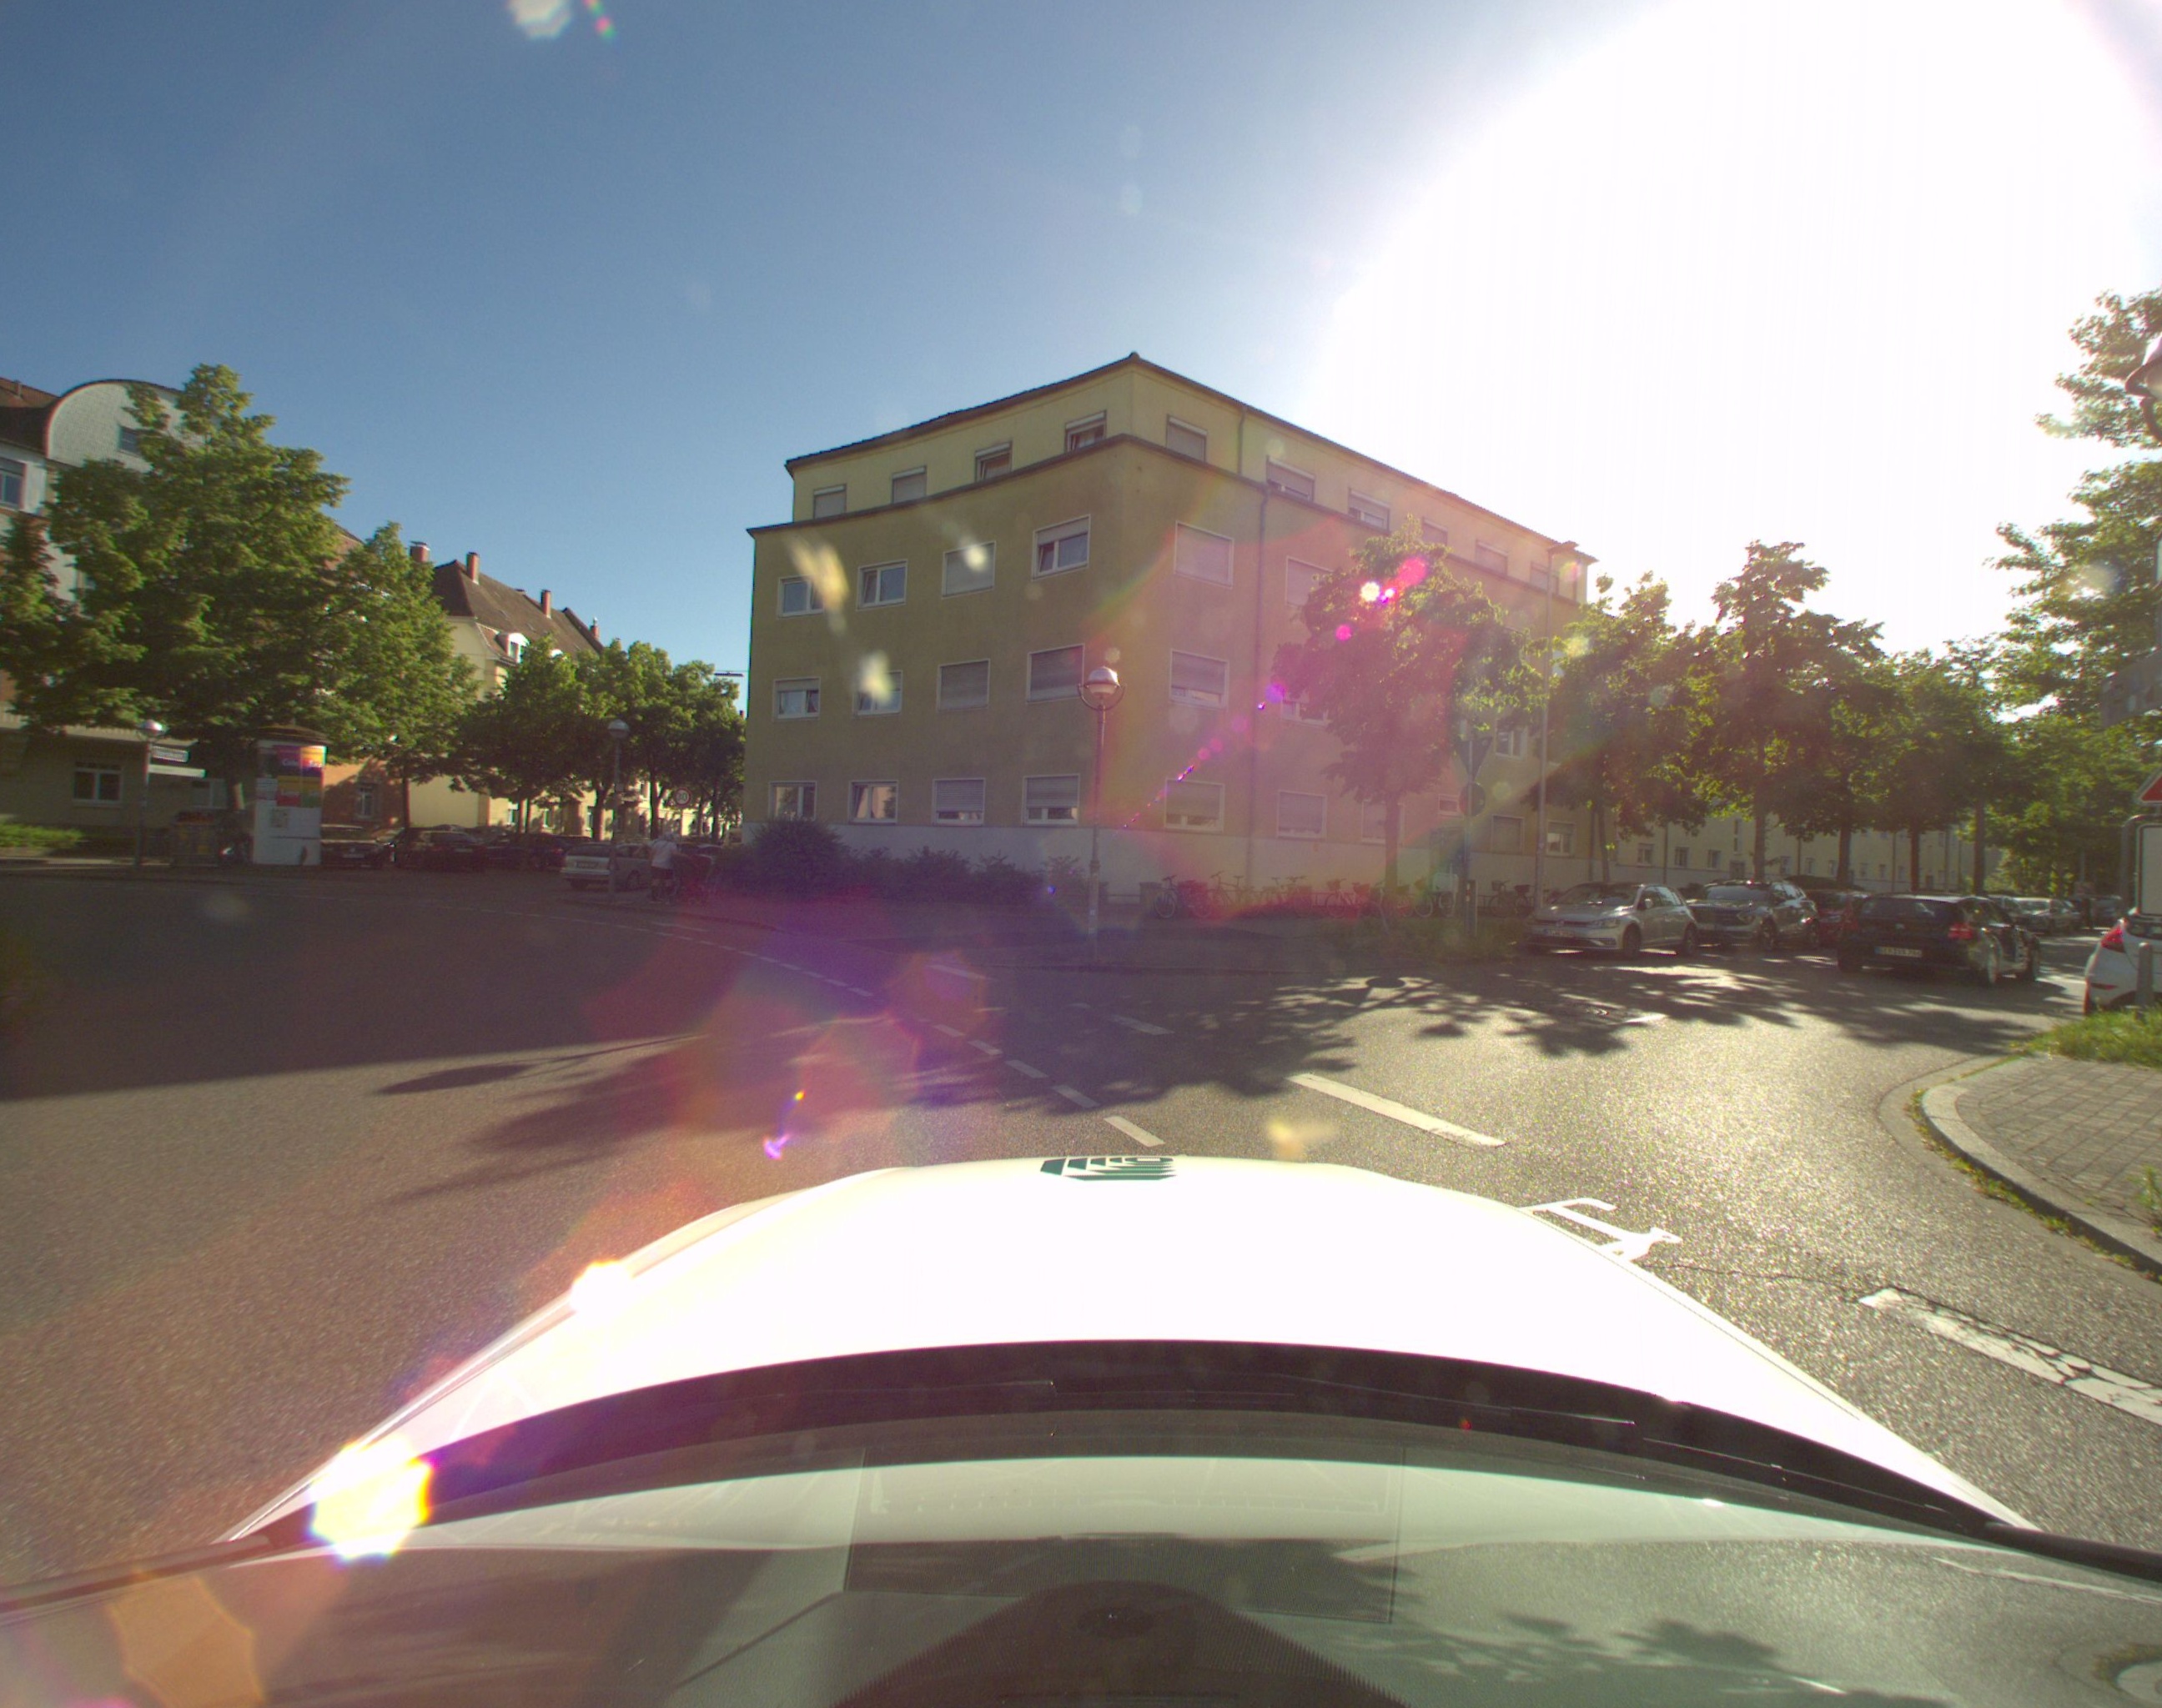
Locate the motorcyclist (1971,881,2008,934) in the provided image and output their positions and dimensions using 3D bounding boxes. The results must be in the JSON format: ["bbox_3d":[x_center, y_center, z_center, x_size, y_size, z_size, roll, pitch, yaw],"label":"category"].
[{"bbox_3d":[24.529,1.441,21.992,0.521,1.403,0.549,3,-1,-31],"label":"motorcyclist"}]

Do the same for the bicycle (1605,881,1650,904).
[{"bbox_3d":[24.549,1.726,36.618,0.483,0.930,1.621,2,-1,-33],"label":"bicycle"}]

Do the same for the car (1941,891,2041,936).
[{"bbox_3d":[33.554,2.164,30.000,4.281,1.516,1.610,2,-3,-30],"label":"car"}]

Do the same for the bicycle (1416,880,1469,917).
[{"bbox_3d":[10.240,1.260,23.044,1.548,1.001,0.512,2,-1,-28],"label":"bicycle"}]

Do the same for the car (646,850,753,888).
[{"bbox_3d":[-13.820,0.520,29.776,1.987,1.212,3.999,2,0,-1],"label":"car"}]

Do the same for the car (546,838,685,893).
[{"bbox_3d":[-13.840,0.333,24.531,1.885,1.443,3.998,2,0,-1],"label":"car"}]

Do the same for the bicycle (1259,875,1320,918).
[{"bbox_3d":[5.117,1.040,19.960,1.549,1.001,0.450,2,-1,-31],"label":"bicycle"}]

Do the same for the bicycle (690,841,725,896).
[{"bbox_3d":[-9.799,0.367,21.361,0.756,1.352,2.415,2,-1,-25],"label":"bicycle"}]

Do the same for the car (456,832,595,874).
[{"bbox_3d":[-21.475,-0.029,31.559,4.225,1.424,1.711,2,-1,4],"label":"car"}]

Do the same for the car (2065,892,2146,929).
[{"bbox_3d":[50.044,2.728,39.766,4.992,1.681,1.837,2,-3,-31],"label":"car"}]

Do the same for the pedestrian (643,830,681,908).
[{"bbox_3d":[-8.929,0.321,17.355,0.666,1.615,0.690,2,-1,-28],"label":"pedestrian"}]

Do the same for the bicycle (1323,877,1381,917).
[{"bbox_3d":[7.112,1.124,21.345,1.686,1.001,0.431,2,-1,-31],"label":"bicycle"}]

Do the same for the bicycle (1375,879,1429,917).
[{"bbox_3d":[8.779,1.204,22.232,1.549,1.001,0.508,2,-1,-31],"label":"bicycle"}]

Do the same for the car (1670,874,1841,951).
[{"bbox_3d":[15.754,1.310,18.949,4.752,1.565,1.680,2,-1,-33],"label":"car"}]

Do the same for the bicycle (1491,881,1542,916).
[{"bbox_3d":[13.562,1.378,25.333,1.753,1.027,0.537,2,-1,-30],"label":"bicycle"}]

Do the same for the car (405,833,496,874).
[{"bbox_3d":[-22.271,-0.033,28.705,4.204,1.285,1.719,2,-1,41],"label":"car"}]

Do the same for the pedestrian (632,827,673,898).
[{"bbox_3d":[-10.104,0.198,19.189,0.749,1.615,0.751,2,-1,-31],"label":"pedestrian"}]

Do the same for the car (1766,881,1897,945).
[{"bbox_3d":[19.675,1.514,21.343,3.266,1.486,1.654,2,-1,-31],"label":"car"}]

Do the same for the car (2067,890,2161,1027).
[{"bbox_3d":[13.145,1.177,9.433,4.149,1.402,1.641,2,-1,-32],"label":"car"}]

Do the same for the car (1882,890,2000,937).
[{"bbox_3d":[28.460,1.948,26.921,4.688,1.369,1.734,2,-2,-31],"label":"car"}]

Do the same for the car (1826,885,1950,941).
[{"bbox_3d":[23.811,1.716,23.996,3.944,1.459,1.654,2,-1,-31],"label":"car"}]

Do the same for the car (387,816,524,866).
[{"bbox_3d":[-25.939,-0.524,33.913,3.980,1.881,1.996,2,-1,-5],"label":"car"}]

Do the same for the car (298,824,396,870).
[{"bbox_3d":[-24.833,-0.244,27.507,3.950,1.399,2.012,2,-1,42],"label":"car"}]

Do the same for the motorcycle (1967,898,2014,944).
[{"bbox_3d":[24.629,1.801,22.056,1.638,1.175,0.549,2,-1,-31],"label":"motorcycle"}]

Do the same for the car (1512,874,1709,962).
[{"bbox_3d":[10.227,1.165,15.646,4.009,1.442,1.747,2,-1,-34],"label":"car"}]

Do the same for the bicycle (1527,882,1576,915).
[{"bbox_3d":[15.216,1.448,26.343,1.753,1.027,0.532,2,-1,-29],"label":"bicycle"}]

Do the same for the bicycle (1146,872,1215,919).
[{"bbox_3d":[2.241,0.930,18.272,1.549,1.001,0.473,2,-1,-31],"label":"bicycle"}]

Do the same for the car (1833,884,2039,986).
[{"bbox_3d":[14.009,1.247,13.320,3.422,1.397,1.638,2,-1,-31],"label":"car"}]

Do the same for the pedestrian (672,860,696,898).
[{"bbox_3d":[-9.323,0.582,19.135,0.455,0.876,0.428,2,-1,-23],"label":"pedestrian"}]

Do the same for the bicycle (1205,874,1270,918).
[{"bbox_3d":[3.676,0.981,19.080,1.549,1.001,0.472,2,-1,-31],"label":"bicycle"}]

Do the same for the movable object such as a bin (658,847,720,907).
[{"bbox_3d":[-8.202,0.479,17.050,0.834,1.196,0.773,2,-1,23],"label":"movable object such as a bin"}]

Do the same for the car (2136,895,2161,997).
[{"bbox_3d":[17.192,1.369,12.117,4.369,1.410,1.599,2,-1,-35],"label":"car"}]

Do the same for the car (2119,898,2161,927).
[{"bbox_3d":[60.290,3.284,45.977,4.793,1.549,1.497,3,-3,-31],"label":"car"}]
